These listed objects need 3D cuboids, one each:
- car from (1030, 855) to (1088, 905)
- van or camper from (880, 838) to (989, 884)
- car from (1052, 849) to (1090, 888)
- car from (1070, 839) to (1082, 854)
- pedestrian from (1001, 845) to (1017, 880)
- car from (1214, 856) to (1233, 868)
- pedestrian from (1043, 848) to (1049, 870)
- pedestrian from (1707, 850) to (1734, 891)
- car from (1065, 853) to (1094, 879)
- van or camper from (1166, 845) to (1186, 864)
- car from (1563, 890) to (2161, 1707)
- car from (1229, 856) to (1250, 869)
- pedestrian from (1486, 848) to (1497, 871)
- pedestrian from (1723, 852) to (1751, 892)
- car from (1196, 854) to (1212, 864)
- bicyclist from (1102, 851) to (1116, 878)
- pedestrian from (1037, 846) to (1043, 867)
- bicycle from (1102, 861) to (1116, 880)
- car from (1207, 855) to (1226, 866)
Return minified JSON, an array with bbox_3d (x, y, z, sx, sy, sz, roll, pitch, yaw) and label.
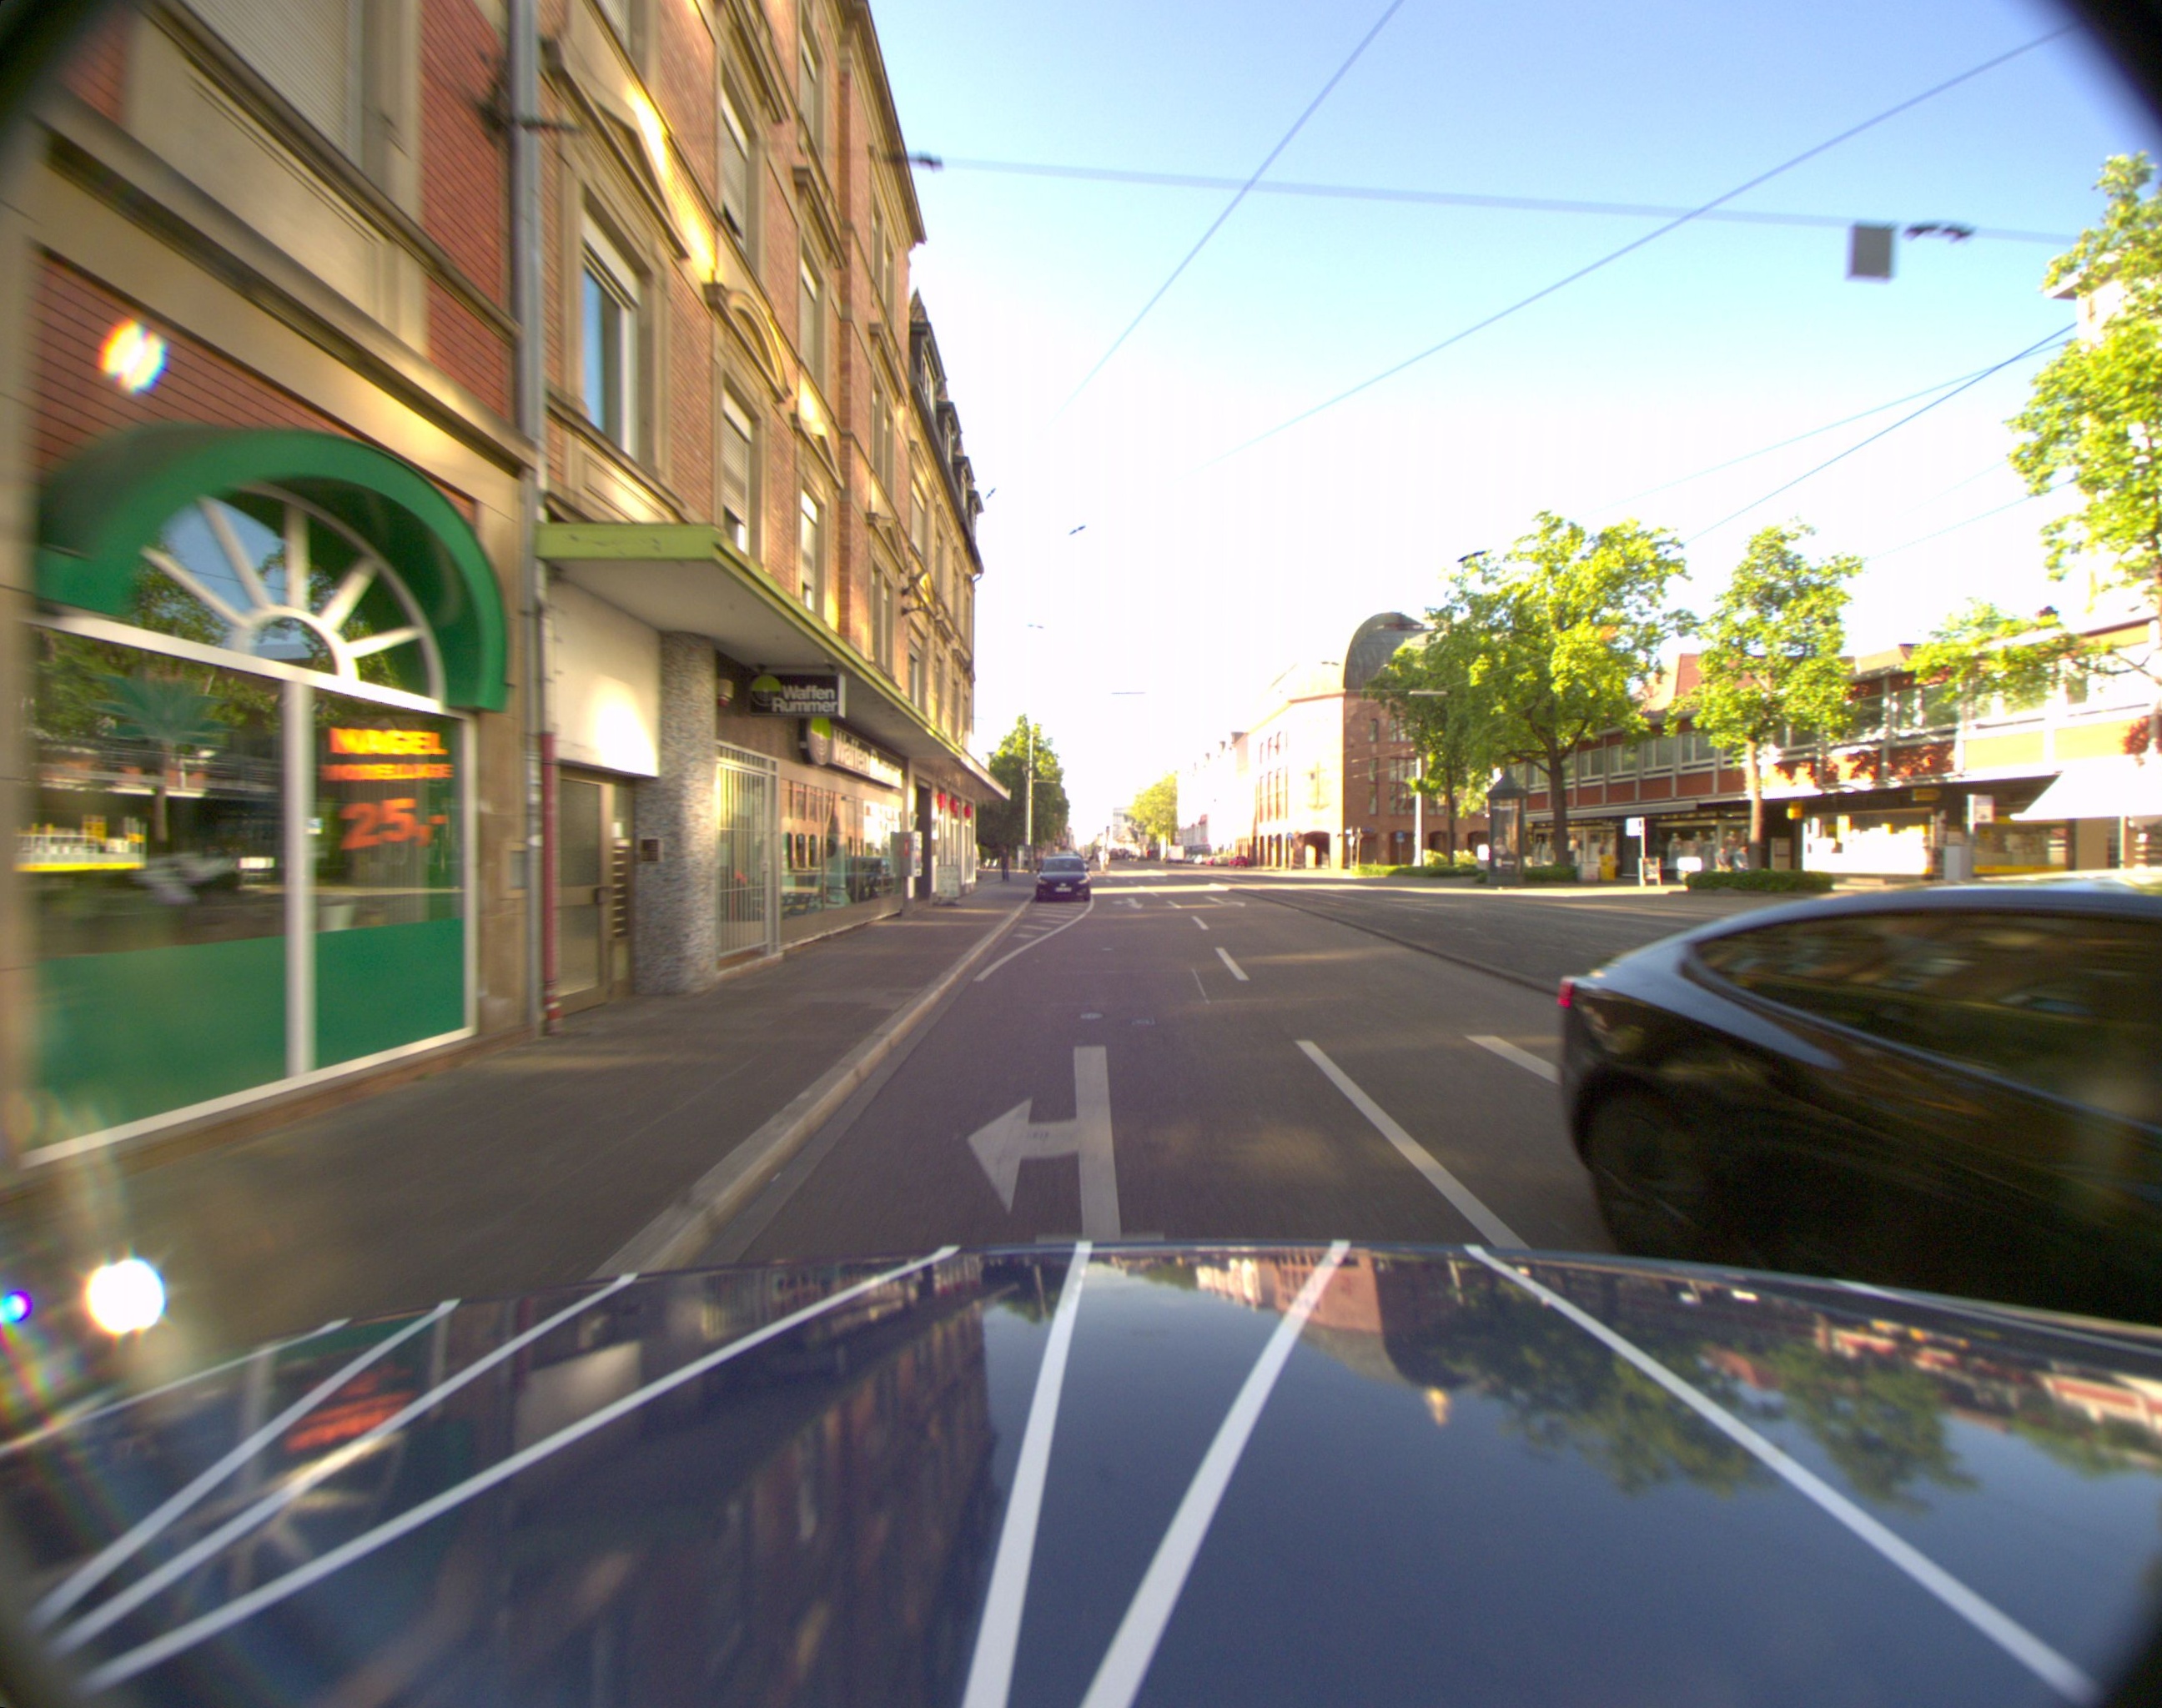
[{"bbox_3d":[-0.667,0.798,25.158,1.694,1.442,4.359,-2,0,0],"label":"car"},{"bbox_3d":[-6.940,0.332,36.282,4.702,1.922,2.000,3,1,4],"label":"van or camper"},{"bbox_3d":[-0.477,0.666,37.289,1.694,1.703,4.614,-2,1,-1],"label":"car"},{"bbox_3d":[-0.733,-1.171,114.007,1.733,2.038,4.114,-2,2,0],"label":"car"},{"bbox_3d":[-3.940,0.452,41.724,0.686,1.901,1.063,-2,2,3],"label":"pedestrian"},{"bbox_3d":[18.917,1.059,100.900,1.856,1.445,3.853,-1,0,0],"label":"car"},{"bbox_3d":[-3.353,0.478,73.233,0.508,2.002,0.574,-2,2,0],"label":"pedestrian"},{"bbox_3d":[28.060,0.728,33.332,0.574,1.762,0.706,0,1,1],"label":"pedestrian"},{"bbox_3d":[-0.109,0.743,48.071,1.702,1.474,4.225,-2,1,0],"label":"car"},{"bbox_3d":[14.131,0.051,113.515,2.041,2.723,7.019,1,0,0],"label":"van or camper"},{"bbox_3d":[2.652,0.881,0.654,1.815,1.415,4.153,-2,1,0],"label":"car"},{"bbox_3d":[19.017,1.004,91.111,1.753,1.445,3.470,-1,0,-1],"label":"car"},{"bbox_3d":[28.239,0.359,52.300,0.446,1.583,0.722,1,1,10],"label":"pedestrian"},{"bbox_3d":[28.784,0.781,33.336,0.574,1.740,0.706,0,1,1],"label":"pedestrian"},{"bbox_3d":[18.889,0.709,117.198,1.856,1.445,3.853,-1,0,0],"label":"car"},{"bbox_3d":[1.896,0.706,52.247,0.895,1.755,1.030,-2,2,0],"label":"bicyclist"},{"bbox_3d":[-3.951,0.249,73.212,0.508,2.002,0.574,-2,2,0],"label":"pedestrian"},{"bbox_3d":[1.908,1.126,52.260,0.889,1.155,2.078,-2,2,0],"label":"bicycle"},{"bbox_3d":[18.853,0.908,105.828,1.856,1.346,3.853,-1,0,0],"label":"car"}]
